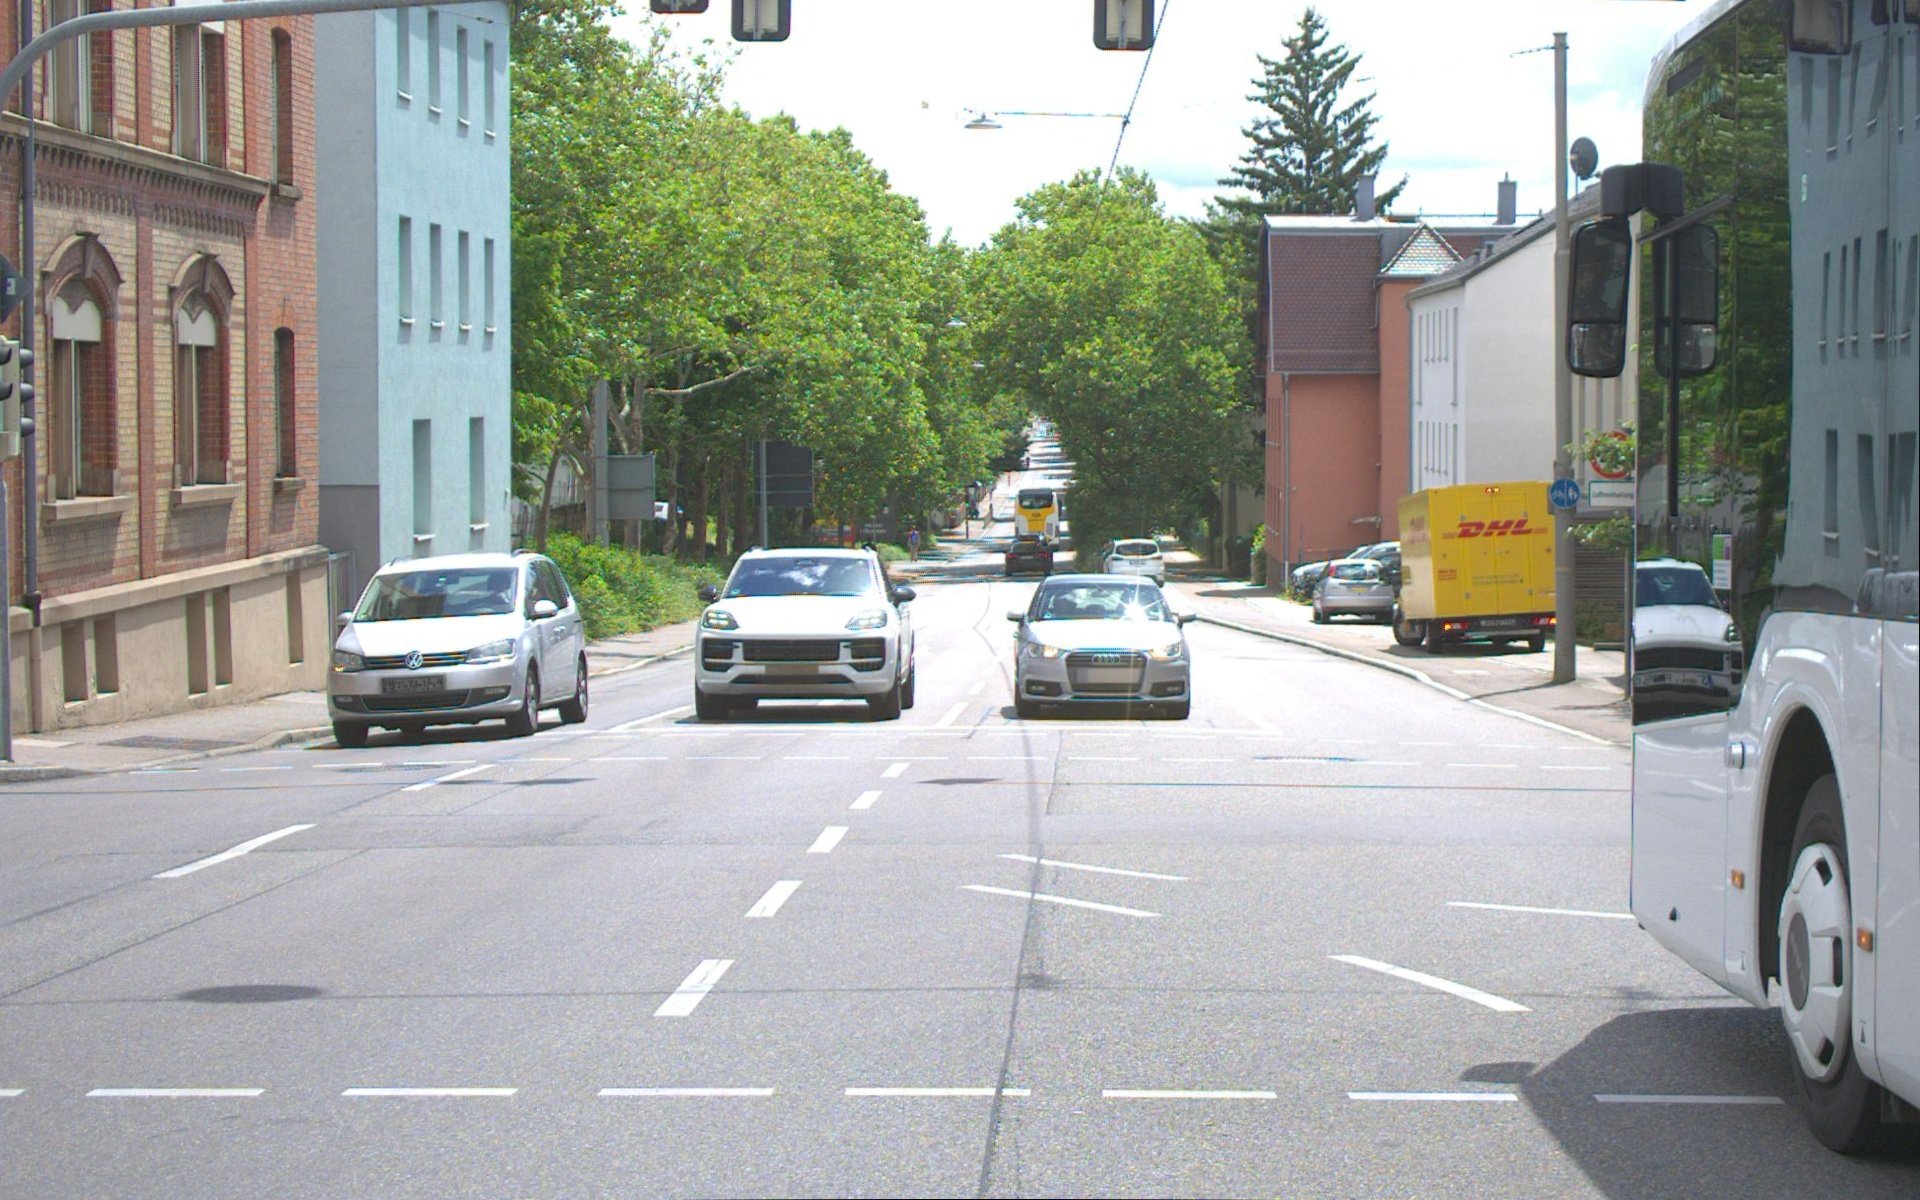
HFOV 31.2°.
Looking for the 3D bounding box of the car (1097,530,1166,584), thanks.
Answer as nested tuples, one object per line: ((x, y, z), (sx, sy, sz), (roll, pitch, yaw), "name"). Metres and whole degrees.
((5.857, -1.489, 117.824), (2.091, 1.824, 4.143), (0, 1, -1), "car")

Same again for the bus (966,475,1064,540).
((3.172, -5.406, 202.623), (3.299, 3.618, 11.248), (-1, 1, -12), "bus")

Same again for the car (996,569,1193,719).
((1.352, 0.398, 34.933), (1.865, 1.363, 4.547), (-1, 1, 2), "car")

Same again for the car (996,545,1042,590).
((2.462, -1.354, 141.829), (1.819, 1.778, 4.000), (-1, 1, 2), "car")

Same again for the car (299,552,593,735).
((-4.704, 0.352, 32.090), (1.936, 1.558, 4.389), (-1, 1, 2), "car")

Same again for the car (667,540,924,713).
((-1.567, 0.208, 34.526), (2.207, 1.607, 4.547), (-1, 1, 2), "car")

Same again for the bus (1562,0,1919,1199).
((3.300, -0.269, 5.263), (2.904, 3.498, 12.487), (1, 1, 2), "bus")

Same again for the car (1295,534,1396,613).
((9.065, -0.651, 81.110), (1.910, 1.810, 4.000), (0, 1, -1), "car")

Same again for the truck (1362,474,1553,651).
((8.636, -0.663, 60.278), (2.541, 2.903, 6.572), (1, 1, 2), "truck")

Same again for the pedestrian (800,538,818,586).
((-5.569, -1.413, 126.484), (0.606, 1.752, 0.653), (-1, 1, 1), "pedestrian")
